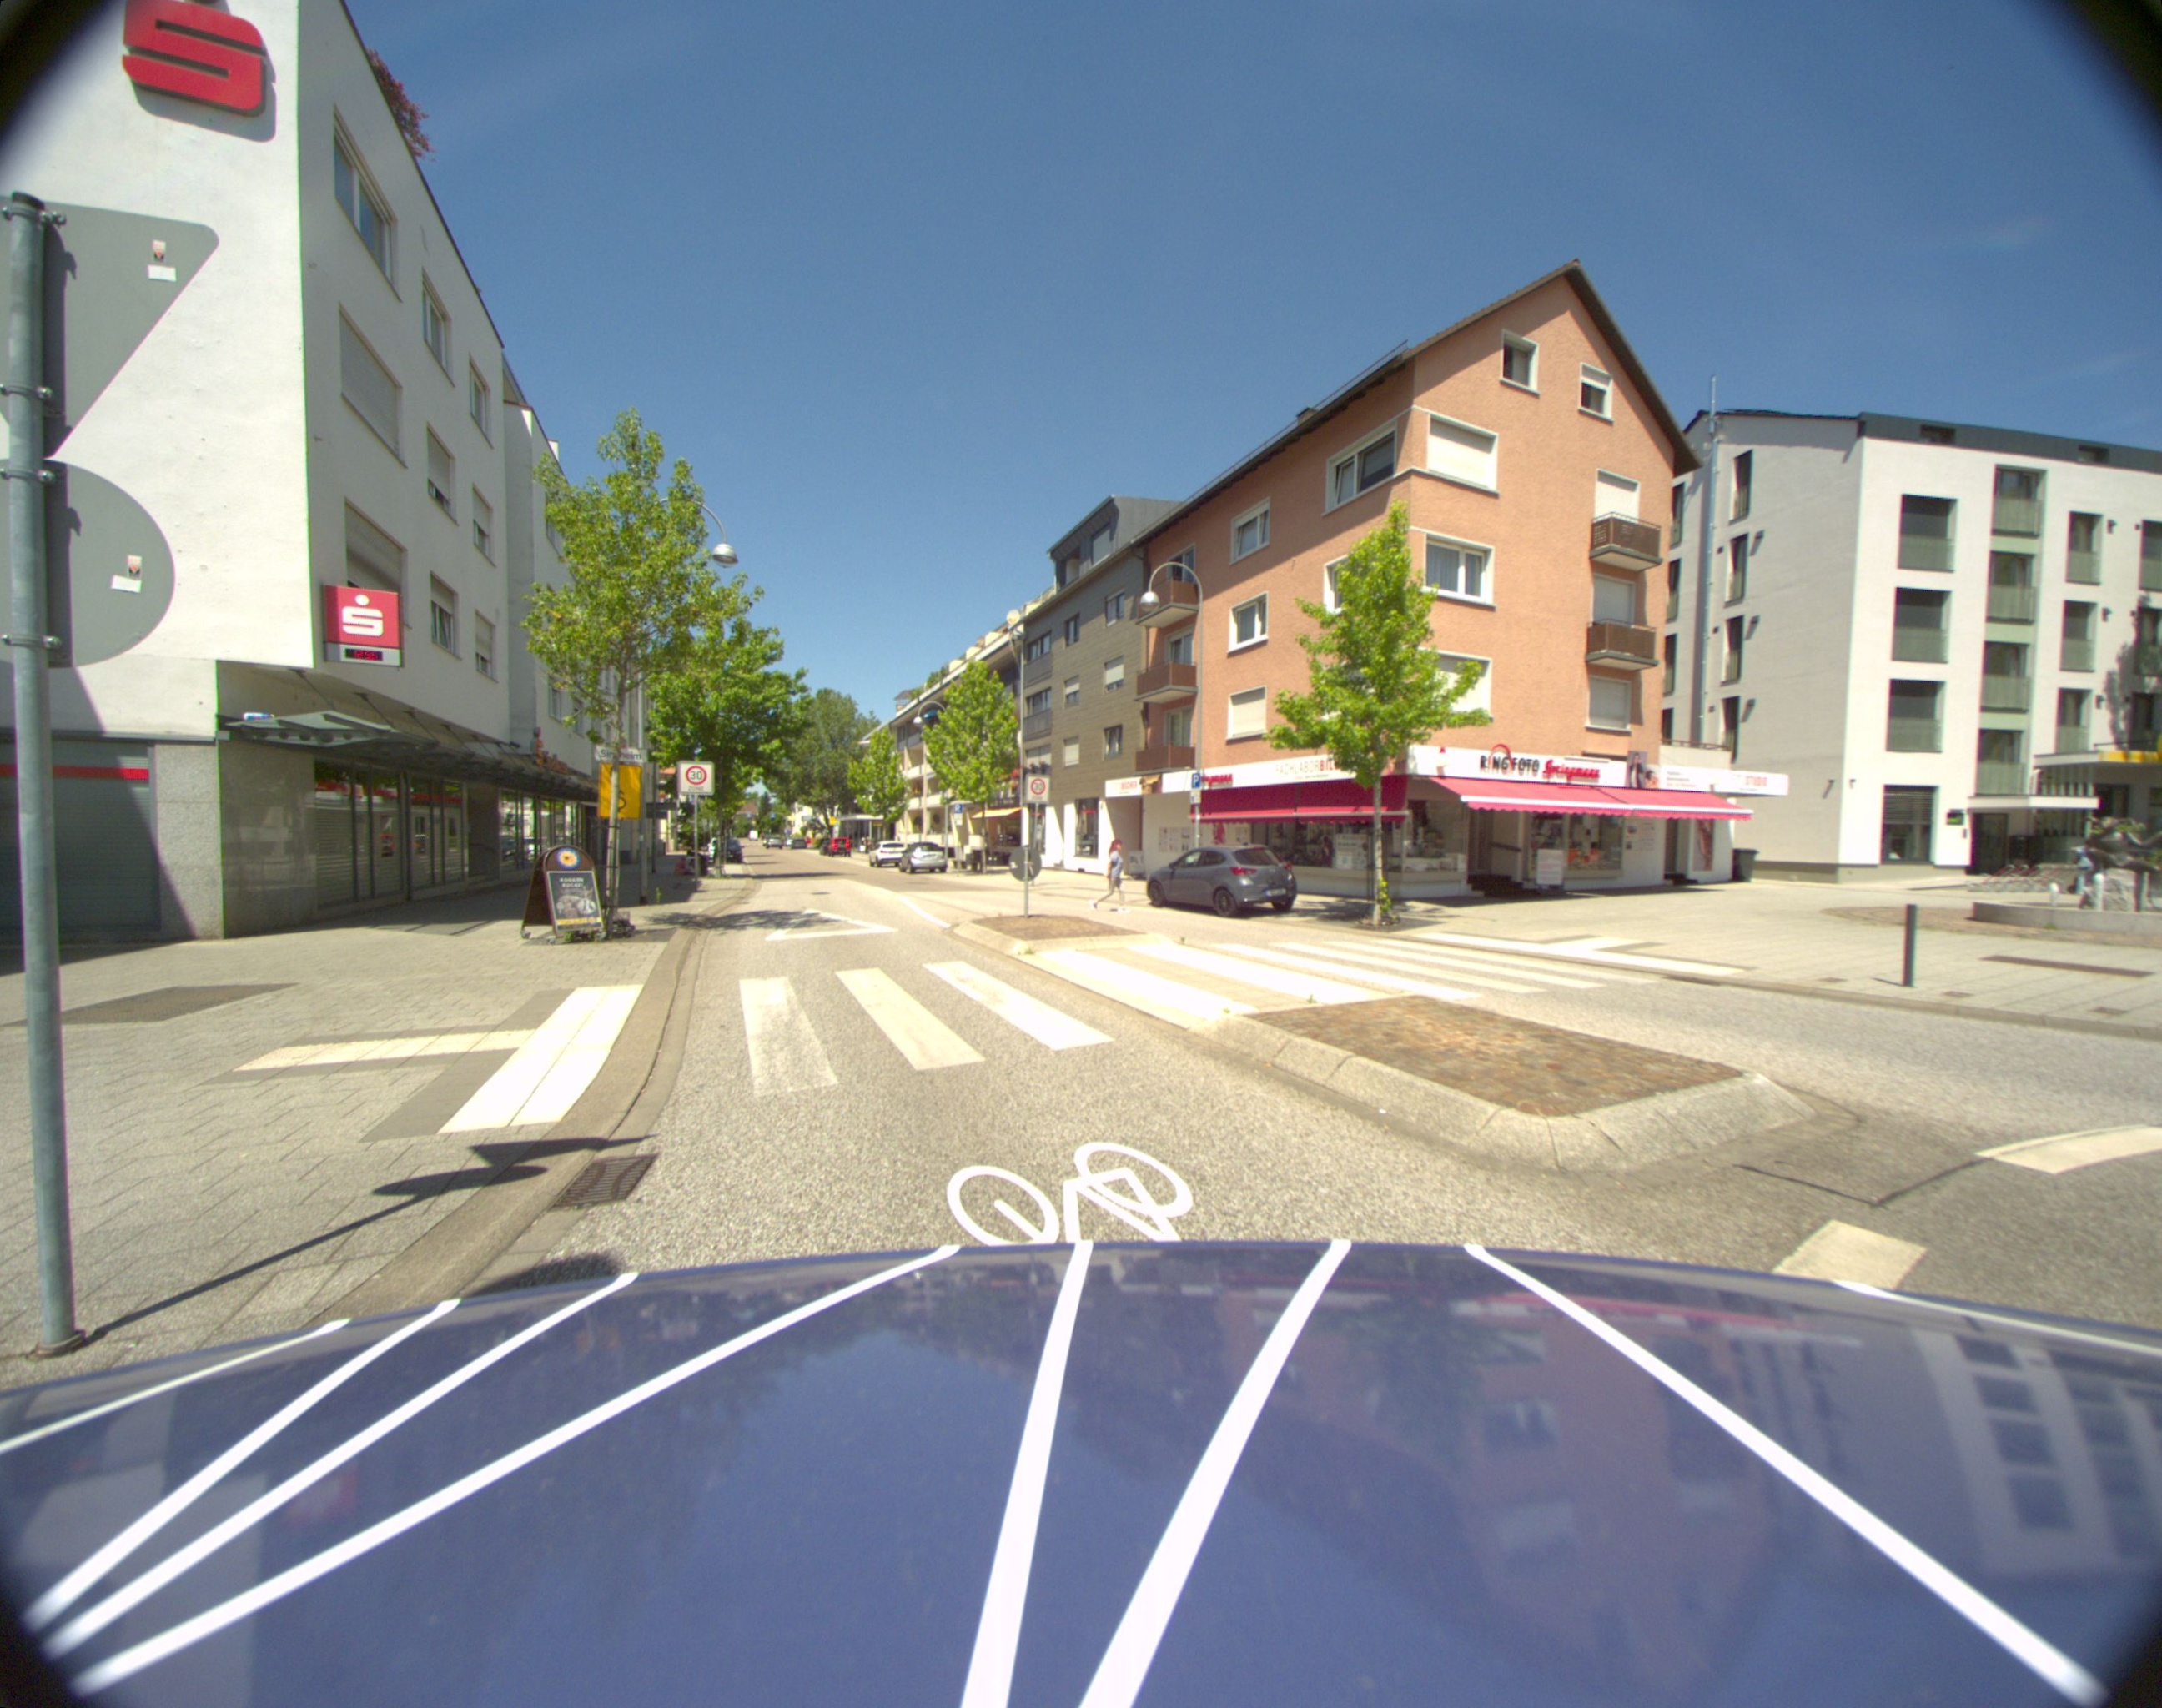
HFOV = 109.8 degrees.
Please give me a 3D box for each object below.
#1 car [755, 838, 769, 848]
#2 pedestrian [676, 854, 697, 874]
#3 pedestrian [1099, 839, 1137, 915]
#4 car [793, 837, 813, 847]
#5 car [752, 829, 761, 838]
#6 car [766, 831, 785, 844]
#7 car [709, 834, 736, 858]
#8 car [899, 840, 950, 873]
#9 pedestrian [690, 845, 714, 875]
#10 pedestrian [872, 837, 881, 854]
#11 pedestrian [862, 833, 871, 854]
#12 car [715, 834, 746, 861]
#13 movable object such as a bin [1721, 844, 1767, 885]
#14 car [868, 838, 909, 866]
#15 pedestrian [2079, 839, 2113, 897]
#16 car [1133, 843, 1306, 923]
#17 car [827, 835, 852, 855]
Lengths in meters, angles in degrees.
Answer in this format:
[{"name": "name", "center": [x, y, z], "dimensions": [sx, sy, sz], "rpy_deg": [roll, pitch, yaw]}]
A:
[{"name": "car", "center": [-51.114, -1.754, 121.690], "dimensions": [1.779, 1.624, 4.289], "rpy_deg": [-1, 2, -27]}, {"name": "pedestrian", "center": [-16.675, 0.425, 32.120], "dimensions": [0.680, 0.847, 0.537], "rpy_deg": [1, 2, -11]}, {"name": "pedestrian", "center": [0.799, 0.488, 16.458], "dimensions": [0.734, 1.601, 0.559], "rpy_deg": [1, 2, -4]}, {"name": "car", "center": [-38.163, -1.642, 104.153], "dimensions": [2.003, 1.412, 3.990], "rpy_deg": [-1, 2, -29]}, {"name": "car", "center": [-88.763, -5.613, 207.702], "dimensions": [2.236, 2.453, 5.237], "rpy_deg": [0, 2, -24]}, {"name": "car", "center": [-40.627, -2.196, 101.072], "dimensions": [1.910, 1.744, 4.745], "rpy_deg": [1, 1, -27]}, {"name": "car", "center": [-26.998, -0.604, 57.119], "dimensions": [1.696, 1.712, 4.124], "rpy_deg": [-1, 2, -27]}, {"name": "car", "center": [-7.423, 0.088, 35.809], "dimensions": [1.629, 1.465, 3.540], "rpy_deg": [0, 2, -24]}, {"name": "pedestrian", "center": [-15.912, 0.247, 31.893], "dimensions": [0.763, 1.233, 0.537], "rpy_deg": [1, 2, -10]}, {"name": "pedestrian", "center": [-18.195, -0.792, 67.657], "dimensions": [0.779, 1.490, 0.696], "rpy_deg": [0, 2, -13]}, {"name": "pedestrian", "center": [-18.899, -0.919, 66.980], "dimensions": [0.668, 1.794, 0.685], "rpy_deg": [0, 2, -9]}, {"name": "car", "center": [-23.996, -0.436, 51.916], "dimensions": [1.697, 1.712, 3.990], "rpy_deg": [2, 0, -27]}, {"name": "movable object such as a bin", "center": [20.738, 0.309, 23.769], "dimensions": [0.838, 1.246, 0.745], "rpy_deg": [0, 2, -23]}, {"name": "car", "center": [-11.567, -0.143, 45.503], "dimensions": [1.703, 1.583, 4.290], "rpy_deg": [0, 2, -24]}, {"name": "pedestrian", "center": [28.623, 0.381, 21.428], "dimensions": [0.451, 1.610, 0.449], "rpy_deg": [0, 2, -27]}, {"name": "car", "center": [2.963, 0.547, 17.139], "dimensions": [1.674, 1.478, 4.051], "rpy_deg": [-3, 3, -28]}, {"name": "car", "center": [-21.241, -0.805, 66.832], "dimensions": [1.647, 1.653, 3.362], "rpy_deg": [-2, 2, -24]}]
